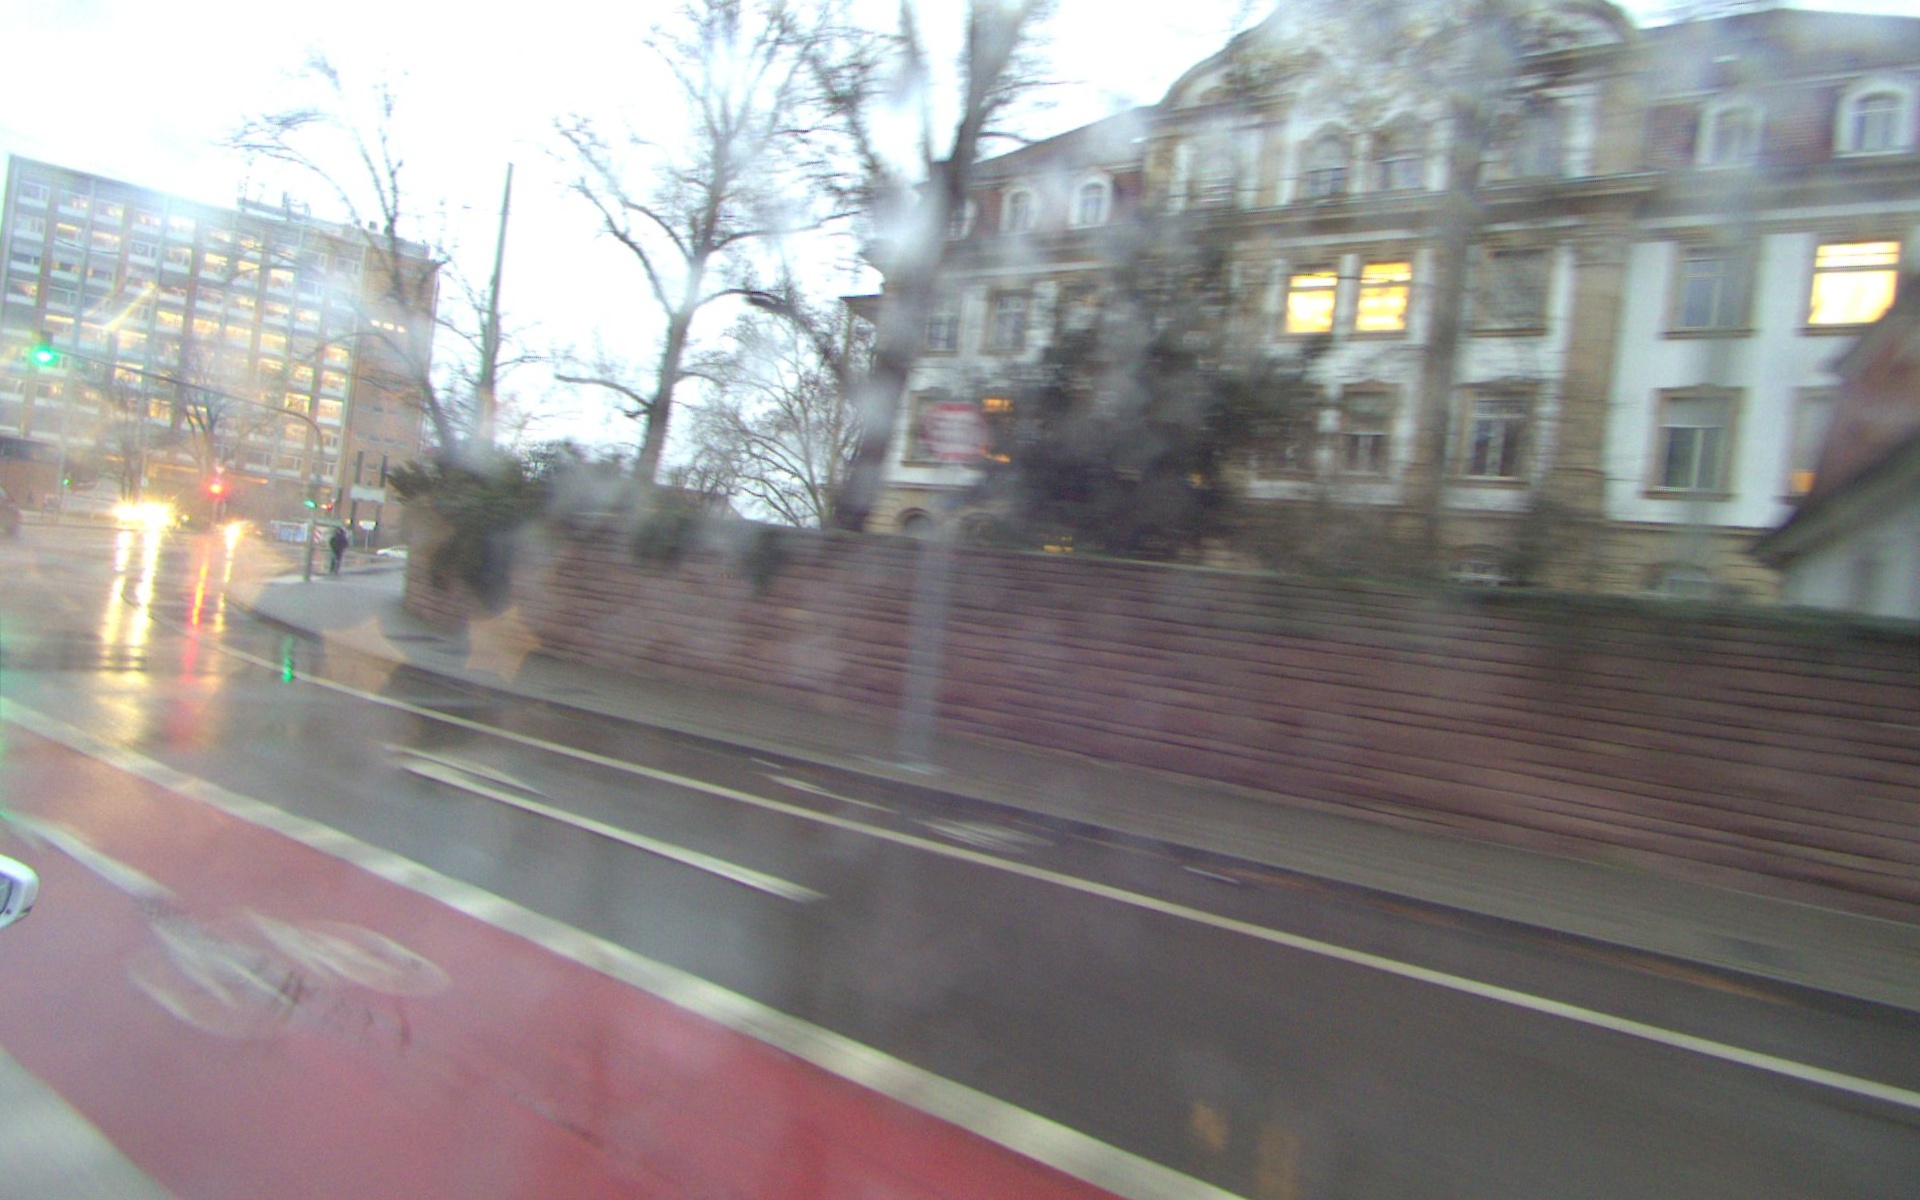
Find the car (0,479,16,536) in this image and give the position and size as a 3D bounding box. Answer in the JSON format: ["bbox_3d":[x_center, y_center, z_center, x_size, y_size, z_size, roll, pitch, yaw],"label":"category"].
[{"bbox_3d":[-31.434,-3.034,31.543,1.635,1.840,3.968,9,0,-30],"label":"car"}]

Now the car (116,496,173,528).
[{"bbox_3d":[-52.601,-5.648,64.948,1.738,1.683,4.500,6,1,-26],"label":"car"}]

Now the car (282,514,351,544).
[{"bbox_3d":[-66.314,-7.305,103.768,5.488,2.047,1.992,9,-2,-20],"label":"car"}]

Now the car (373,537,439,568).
[{"bbox_3d":[-51.981,-4.470,94.505,4.871,2.036,1.996,9,-2,-14],"label":"car"}]

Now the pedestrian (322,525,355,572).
[{"bbox_3d":[-24.133,-1.996,39.037,0.801,1.706,1.143,5,2,-42],"label":"pedestrian"}]
